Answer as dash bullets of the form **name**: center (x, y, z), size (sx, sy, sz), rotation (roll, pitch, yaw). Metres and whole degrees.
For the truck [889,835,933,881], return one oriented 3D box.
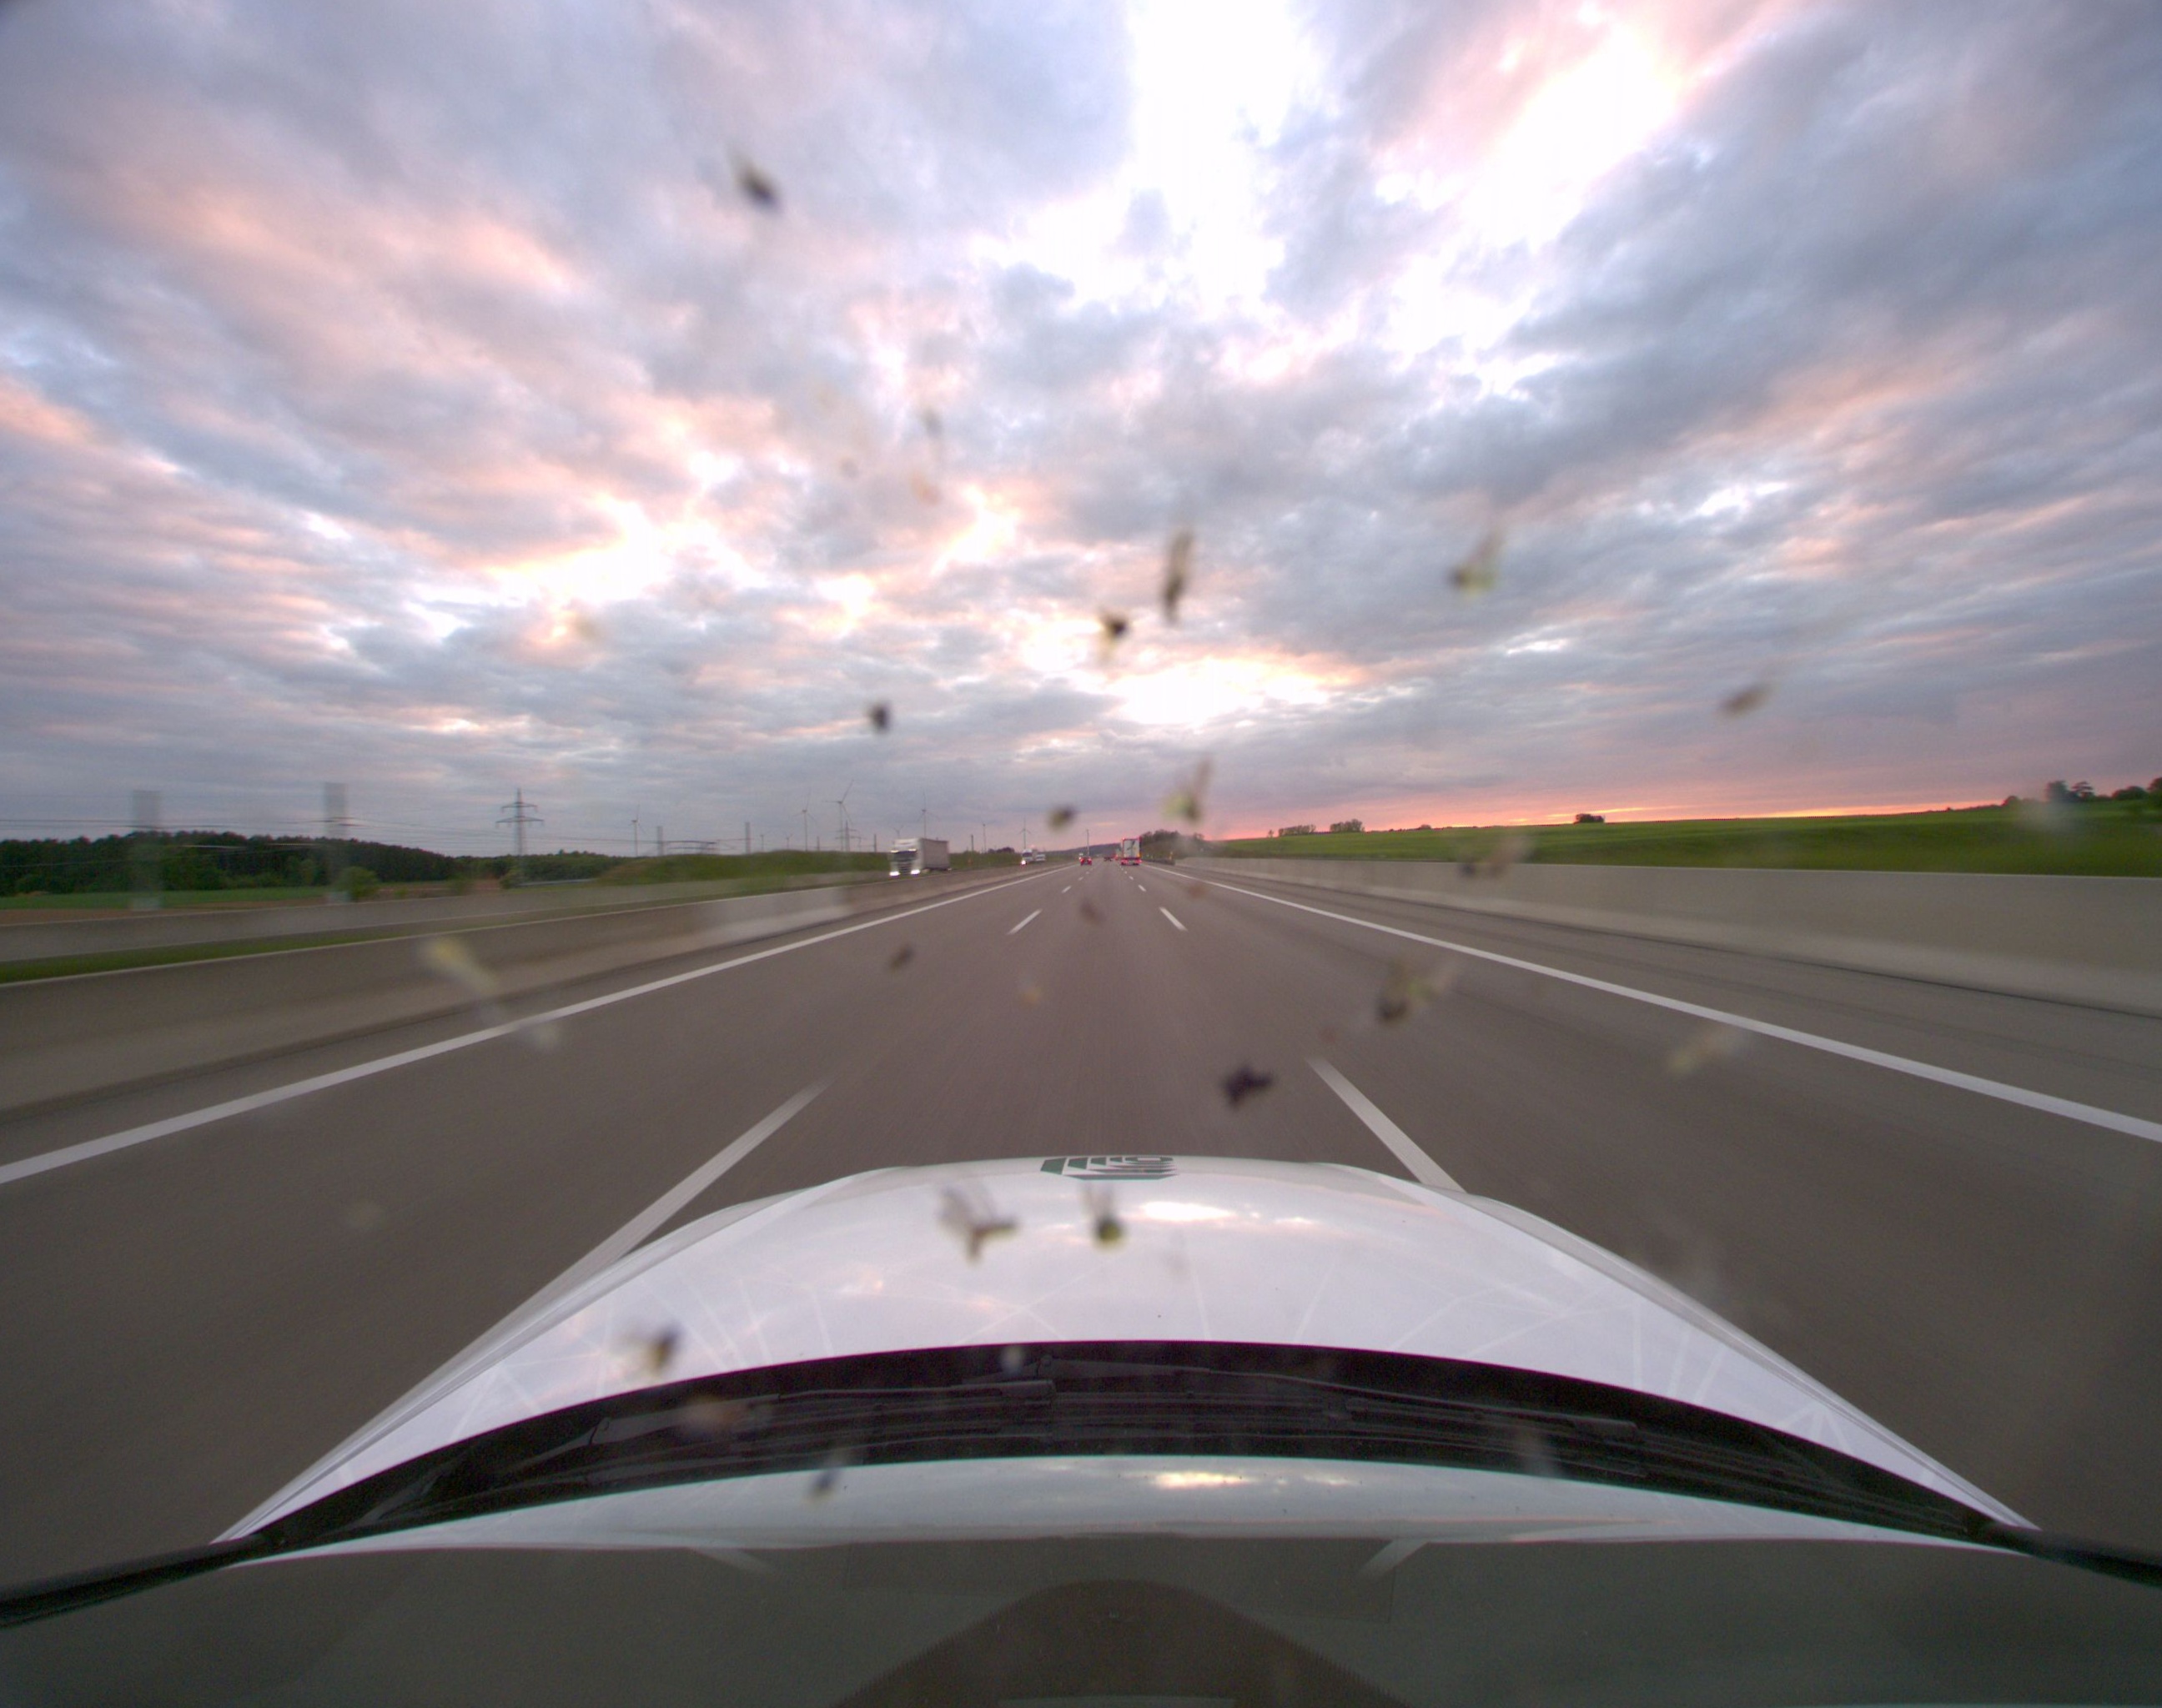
- **truck**: center (-17.040, 0.386, 82.036), size (2.807, 4.352, 6.742), rotation (-1, 0, 2)

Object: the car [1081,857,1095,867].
- **car**: center (1.085, 1.211, 130.890), size (1.979, 1.429, 4.003), rotation (-2, 0, 3)

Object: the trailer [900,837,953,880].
- **trailer**: center (-16.730, 0.402, 89.302), size (2.806, 4.352, 12.845), rotation (-1, 0, 2)

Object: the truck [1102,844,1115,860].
- **truck**: center (7.985, -0.468, 236.628), size (3.634, 4.414, 8.639), rotation (-3, 0, 2)

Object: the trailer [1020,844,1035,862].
- **trailer**: center (-13.182, -0.276, 201.983), size (2.676, 4.114, 6.943), rotation (-4, 0, 3)

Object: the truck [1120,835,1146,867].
- **truck**: center (7.890, -0.511, 125.560), size (3.661, 4.564, 10.988), rotation (-2, 0, 3)
